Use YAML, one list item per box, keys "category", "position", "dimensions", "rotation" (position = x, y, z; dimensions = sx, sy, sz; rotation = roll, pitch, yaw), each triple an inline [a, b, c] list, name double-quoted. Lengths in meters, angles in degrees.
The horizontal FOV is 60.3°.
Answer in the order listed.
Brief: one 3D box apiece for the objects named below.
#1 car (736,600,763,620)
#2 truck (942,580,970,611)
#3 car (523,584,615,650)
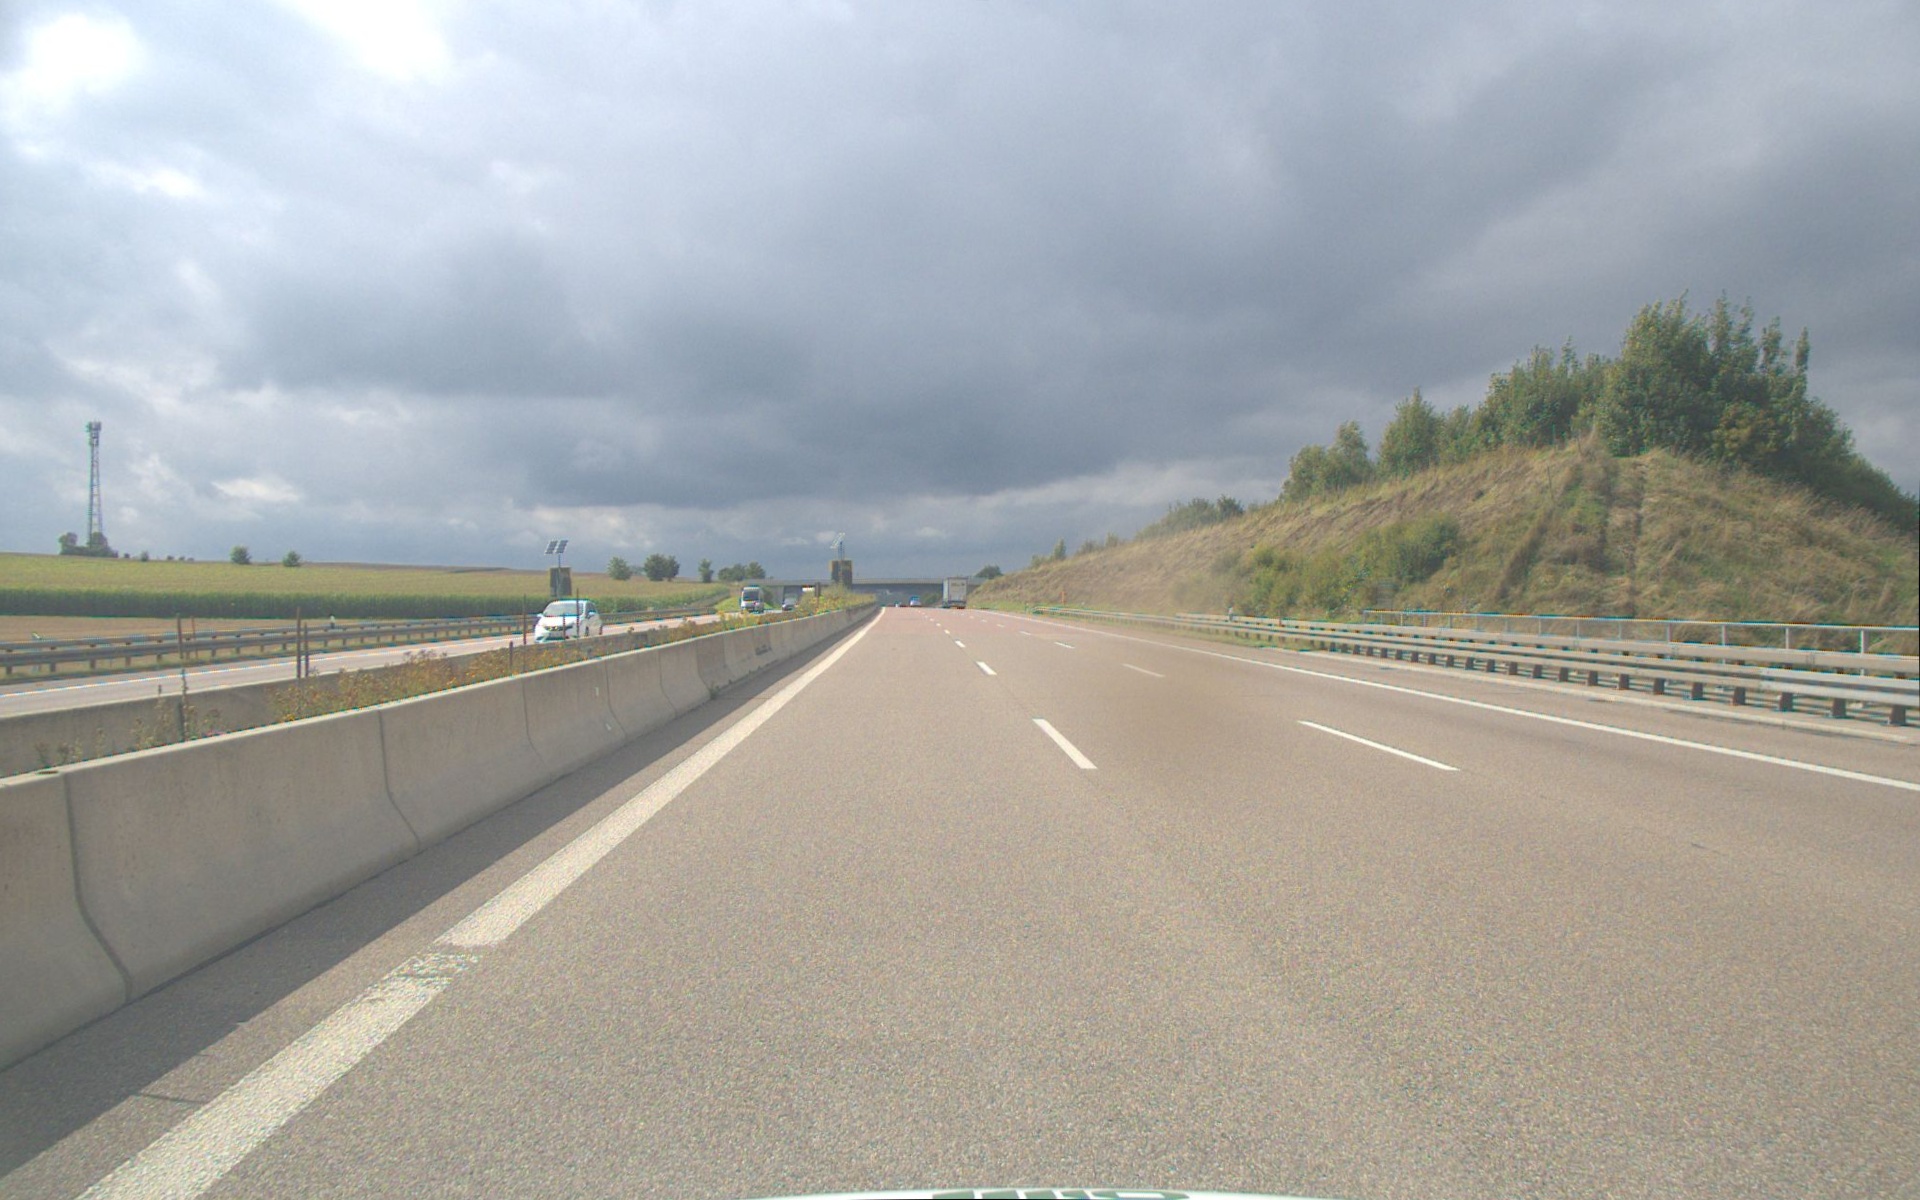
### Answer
- category: "car"
  position: [-21.095, 1.007, 165.619]
  dimensions: [2.015, 1.946, 5.702]
  rotation: [-1, 0, -1]
- category: "truck"
  position: [-0.589, -0.644, 221.530]
  dimensions: [3.544, 4.014, 11.171]
  rotation: [2, 0, -1]
- category: "car"
  position: [-13.196, 0.529, 56.097]
  dimensions: [1.953, 2.106, 4.711]
  rotation: [-1, 0, 0]
